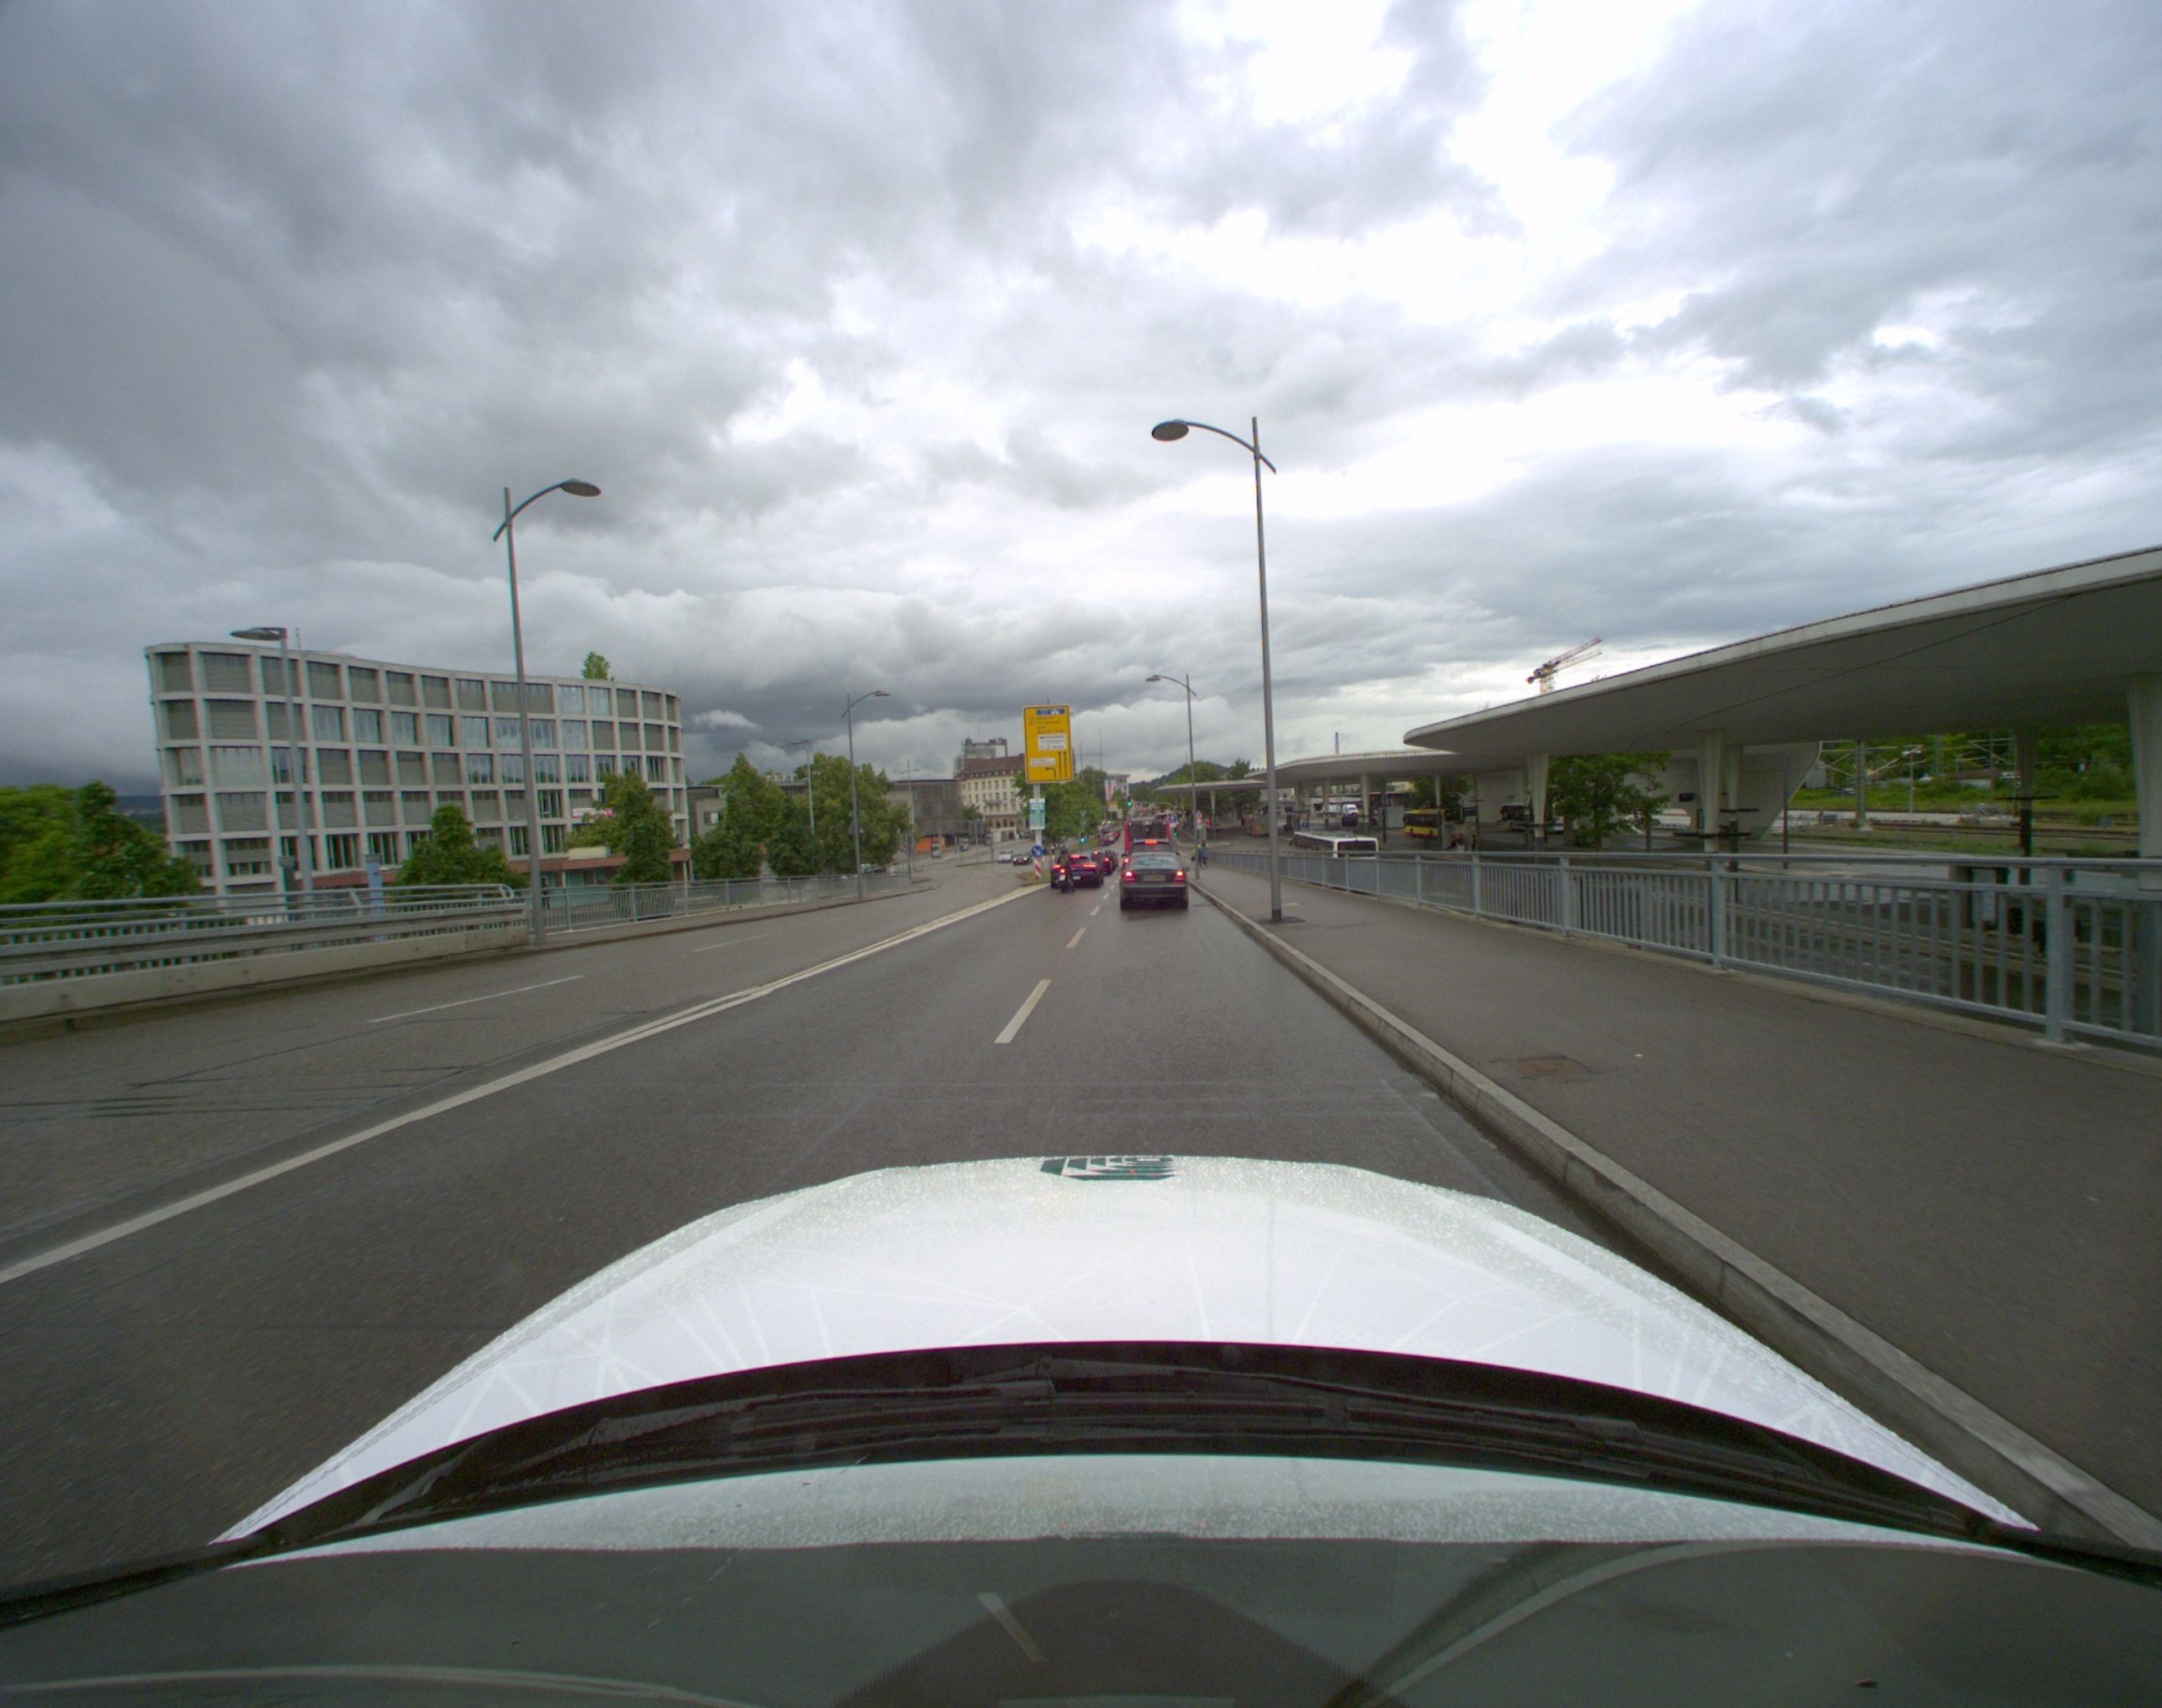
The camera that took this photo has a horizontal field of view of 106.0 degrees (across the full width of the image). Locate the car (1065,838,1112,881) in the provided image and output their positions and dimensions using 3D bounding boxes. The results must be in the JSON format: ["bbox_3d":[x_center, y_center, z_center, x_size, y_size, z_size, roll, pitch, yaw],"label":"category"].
[{"bbox_3d":[0.440,0.231,40.788,1.984,2.006,4.006,-1,1,5],"label":"car"}]

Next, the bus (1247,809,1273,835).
[{"bbox_3d":[26.610,-4.647,121.552,3.159,3.600,10.538,-3,1,9],"label":"bus"}]

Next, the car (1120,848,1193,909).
[{"bbox_3d":[1.914,0.560,21.050,1.698,1.419,3.730,-1,0,4],"label":"car"}]

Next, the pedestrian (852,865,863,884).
[{"bbox_3d":[-17.499,1.587,63.801,0.644,1.408,0.532,-3,2,7],"label":"pedestrian"}]

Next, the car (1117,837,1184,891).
[{"bbox_3d":[2.453,0.269,27.934,1.815,1.687,4.013,-1,1,11],"label":"car"}]

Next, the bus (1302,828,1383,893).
[{"bbox_3d":[15.317,0.236,48.257,2.637,3.235,7.076,0,4,1],"label":"bus"}]

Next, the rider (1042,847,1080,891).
[{"bbox_3d":[-0.694,0.493,28.564,0.875,1.472,2.202,-1,1,10],"label":"rider"}]

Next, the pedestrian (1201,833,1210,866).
[{"bbox_3d":[7.595,-0.275,49.651,0.421,2.014,0.484,-3,-2,6],"label":"pedestrian"}]

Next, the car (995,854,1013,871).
[{"bbox_3d":[-9.864,1.110,104.550,1.989,2.013,3.996,-3,0,-3],"label":"car"}]

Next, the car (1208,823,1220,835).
[{"bbox_3d":[24.147,-4.487,147.444,1.981,2.013,4.012,-3,1,10],"label":"car"}]

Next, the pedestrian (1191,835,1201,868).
[{"bbox_3d":[7.032,-0.142,49.776,0.487,2.014,0.470,-3,-2,6],"label":"pedestrian"}]

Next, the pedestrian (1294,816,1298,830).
[{"bbox_3d":[31.183,-4.487,118.011,0.421,2.014,0.484,-3,-2,6],"label":"pedestrian"}]

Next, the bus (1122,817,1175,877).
[{"bbox_3d":[4.037,-0.442,49.349,2.814,3.189,10.321,-1,1,4],"label":"bus"}]

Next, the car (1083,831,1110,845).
[{"bbox_3d":[2.423,-2.579,129.741,3.964,2.013,2.005,-3,1,8],"label":"car"}]

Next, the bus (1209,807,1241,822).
[{"bbox_3d":[35.327,-9.642,199.943,7.173,3.396,3.083,-3,2,0],"label":"bus"}]

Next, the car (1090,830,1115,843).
[{"bbox_3d":[3.609,-2.878,135.740,3.964,2.013,2.005,-3,1,8],"label":"car"}]

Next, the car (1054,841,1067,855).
[{"bbox_3d":[-3.371,-0.965,133.866,1.989,2.013,4.198,-3,0,-2],"label":"car"}]

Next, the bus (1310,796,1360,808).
[{"bbox_3d":[55.382,-11.390,177.731,10.131,2.013,2.171,-3,1,1],"label":"bus"}]

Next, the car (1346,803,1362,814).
[{"bbox_3d":[55.338,-9.149,165.155,1.985,2.013,4.005,-3,2,4],"label":"car"}]

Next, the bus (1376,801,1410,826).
[{"bbox_3d":[43.122,-5.542,112.840,2.587,3.209,7.008,-3,2,6],"label":"bus"}]

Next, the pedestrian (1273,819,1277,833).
[{"bbox_3d":[28.556,-4.136,119.669,0.421,2.013,0.484,-3,1,6],"label":"pedestrian"}]

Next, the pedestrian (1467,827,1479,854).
[{"bbox_3d":[29.524,-1.028,61.334,0.557,2.013,0.484,-3,1,6],"label":"pedestrian"}]

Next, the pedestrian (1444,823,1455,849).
[{"bbox_3d":[30.019,-1.469,66.317,0.541,2.013,0.580,-3,1,5],"label":"pedestrian"}]

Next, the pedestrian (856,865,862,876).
[{"bbox_3d":[-17.425,1.301,63.807,0.299,0.873,0.299,-3,2,7],"label":"pedestrian"}]

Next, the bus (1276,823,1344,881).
[{"bbox_3d":[15.438,-0.265,55.358,2.636,3.235,7.076,-3,4,1],"label":"bus"}]

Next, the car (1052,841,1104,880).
[{"bbox_3d":[-0.053,0.210,33.324,1.752,1.436,4.006,-1,1,5],"label":"car"}]

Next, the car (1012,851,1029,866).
[{"bbox_3d":[-7.129,0.562,96.386,1.829,1.526,4.590,-3,2,-3],"label":"car"}]

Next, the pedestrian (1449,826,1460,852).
[{"bbox_3d":[29.798,-1.186,65.041,0.541,2.013,0.580,-3,1,5],"label":"pedestrian"}]

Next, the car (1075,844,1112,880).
[{"bbox_3d":[0.817,0.415,48.893,1.985,2.006,4.005,-1,1,4],"label":"car"}]
